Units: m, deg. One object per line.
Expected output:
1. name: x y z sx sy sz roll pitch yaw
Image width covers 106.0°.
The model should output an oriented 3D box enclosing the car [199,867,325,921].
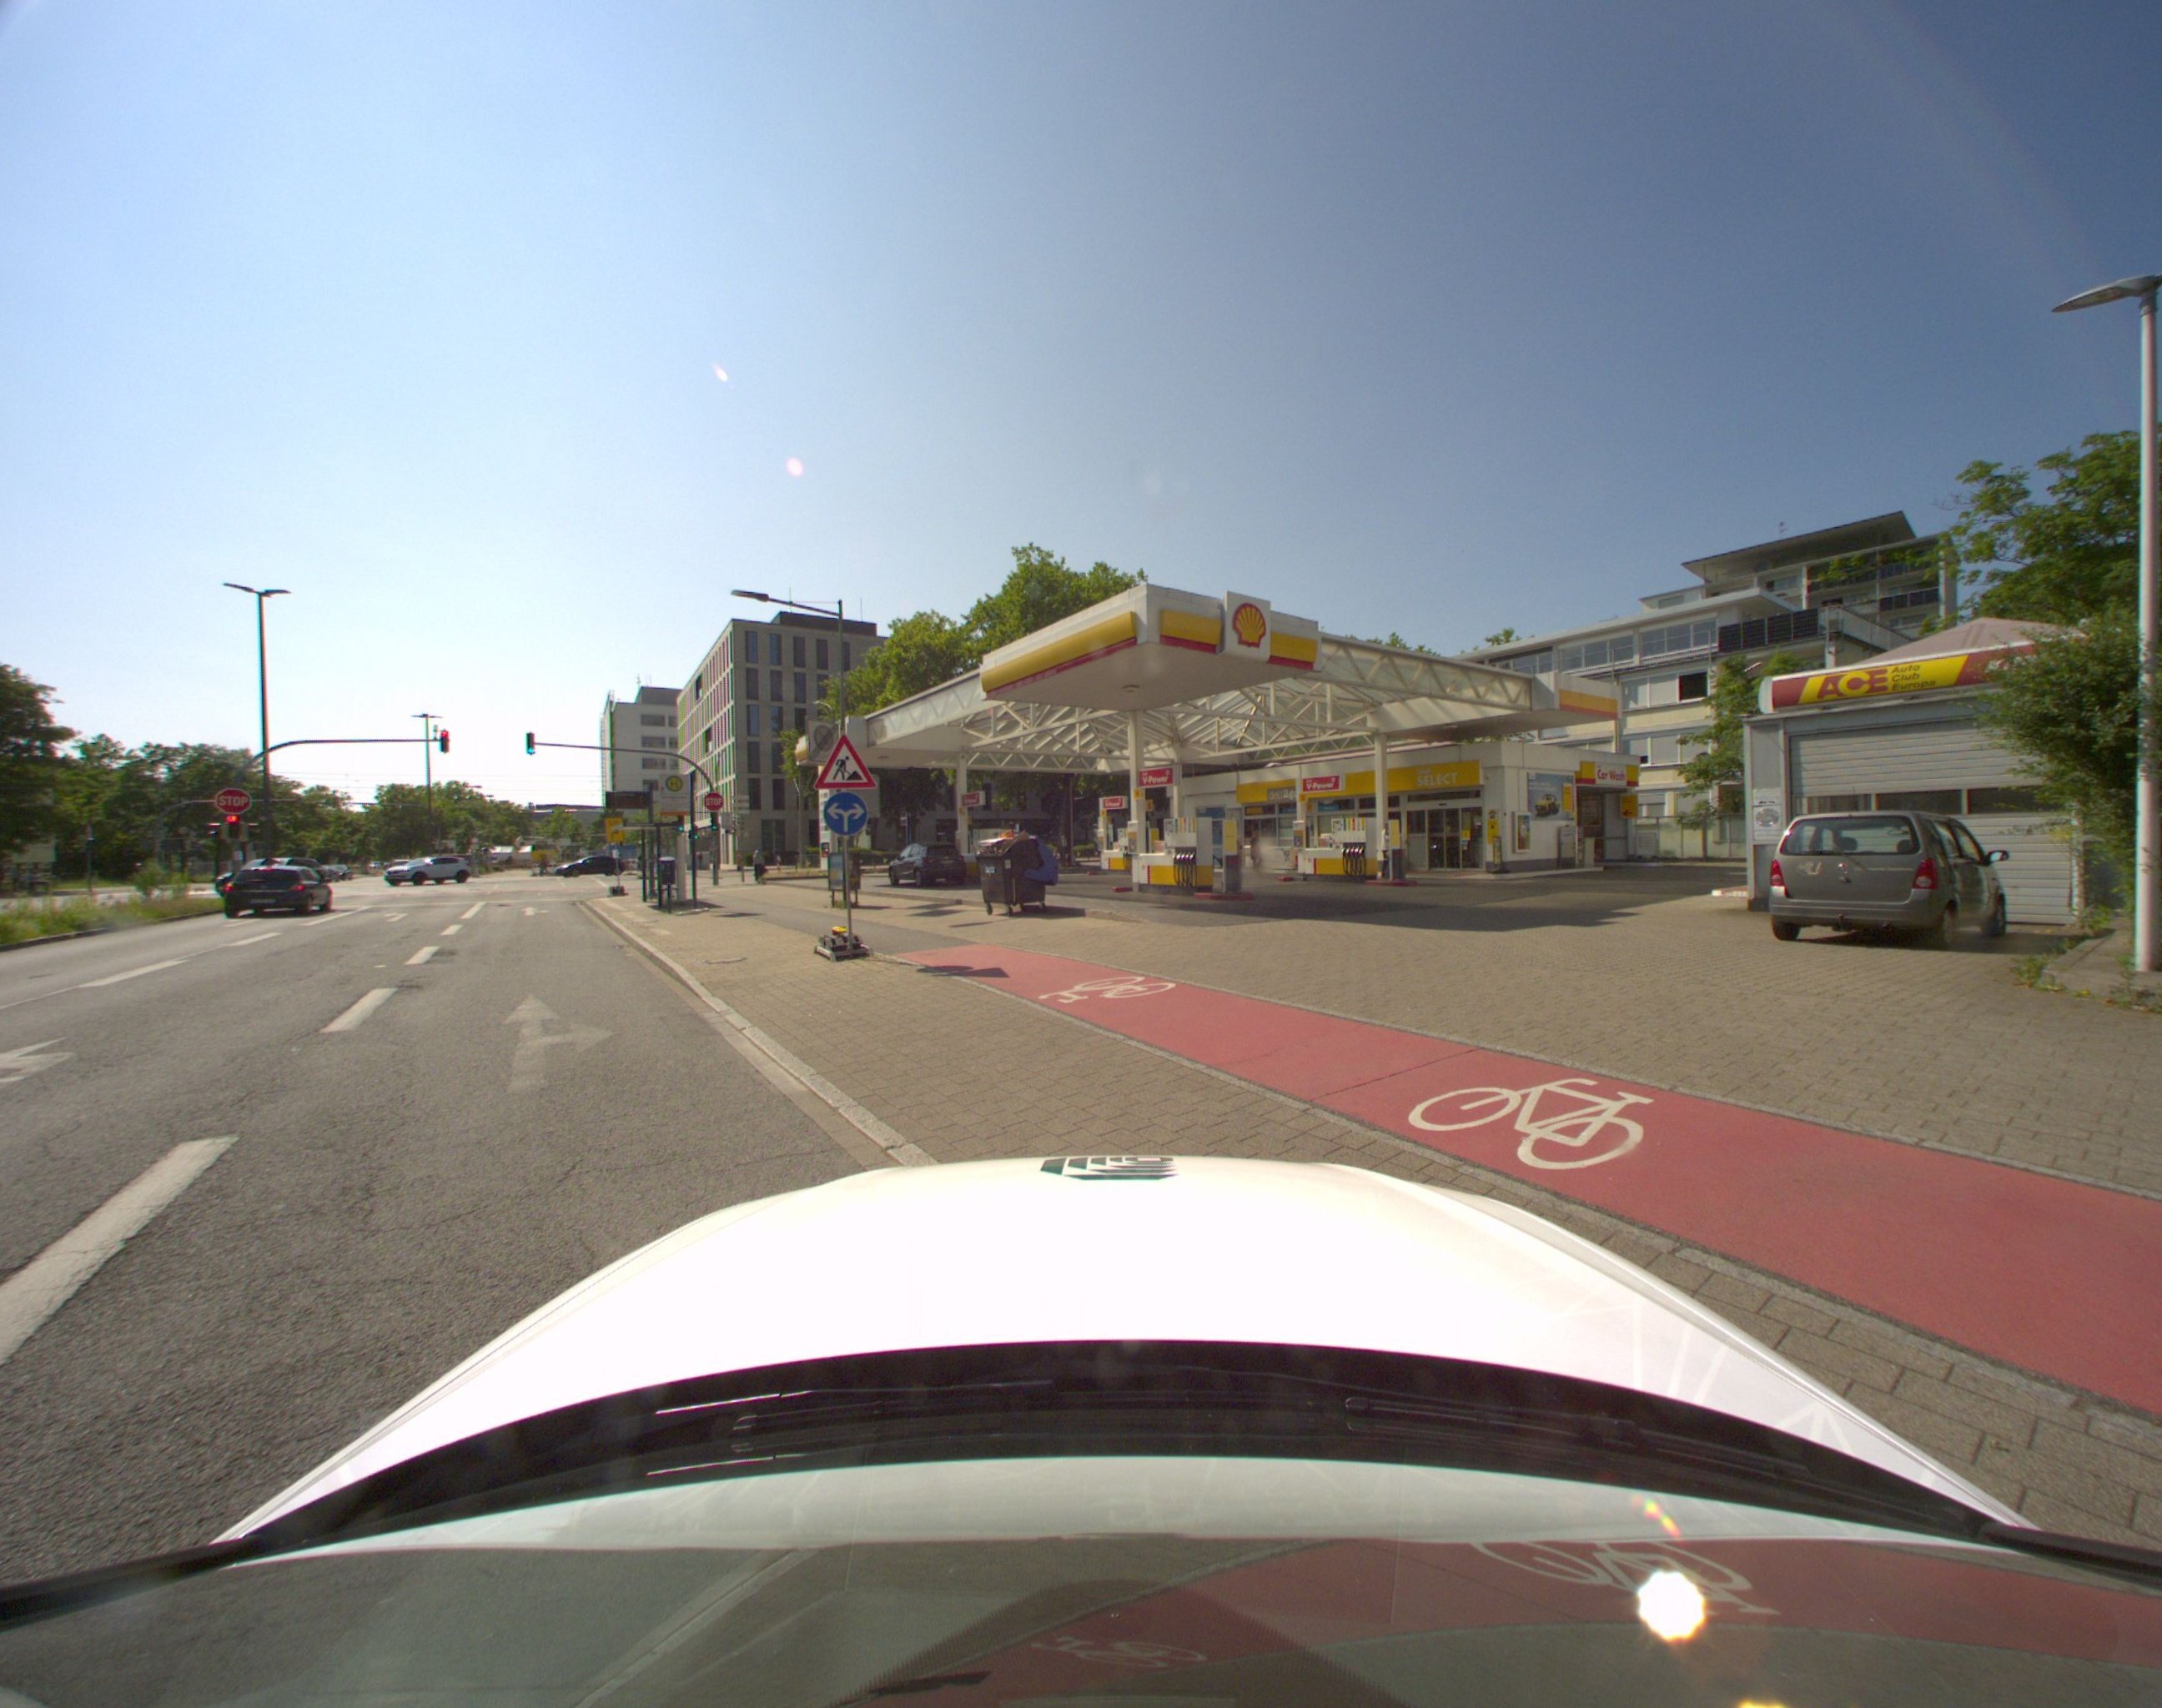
1. car: -24.139 1.114 24.172 2.009 1.398 3.956 -2 0 -36

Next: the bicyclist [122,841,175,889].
1. bicyclist: -58.973 0.677 51.564 1.611 2.931 2.328 -2 0 -34

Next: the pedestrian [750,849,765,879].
1. pedestrian: -16.698 0.521 42.029 0.623 1.543 0.456 -1 0 -35

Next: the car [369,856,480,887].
1. car: -38.785 0.983 48.291 1.979 1.636 4.888 -1 0 13

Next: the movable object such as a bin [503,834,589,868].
1. movable object such as a bin: -74.183 -0.505 113.187 9.743 4.549 3.131 -1 0 -33

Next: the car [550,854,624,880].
1. car: -35.005 0.912 57.777 4.148 1.638 1.975 -2 1 -44

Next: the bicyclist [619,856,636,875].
1. bicyclist: -39.270 0.988 70.550 1.246 1.673 0.520 -1 0 -26

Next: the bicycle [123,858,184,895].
1. bicycle: -59.414 1.408 52.236 1.611 2.269 3.957 -2 0 -34

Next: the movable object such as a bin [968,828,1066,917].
1. movable object such as a bin: -1.272 0.335 16.062 1.318 1.592 1.380 -5 2 -37

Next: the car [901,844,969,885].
1. car: -5.394 0.364 29.786 1.657 1.398 3.613 -2 0 -23

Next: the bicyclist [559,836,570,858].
1. bicyclist: -61.192 -0.854 96.511 1.076 2.574 0.820 -1 0 -28

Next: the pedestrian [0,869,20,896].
1. pedestrian: -64.018 1.701 48.406 0.666 1.611 0.938 -1 0 -11

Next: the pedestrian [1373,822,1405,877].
1. pedestrian: 10.359 -0.148 27.387 0.847 1.837 0.750 -1 0 34

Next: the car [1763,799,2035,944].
1. car: 10.714 0.160 10.621 3.845 1.596 1.575 -1 0 -30

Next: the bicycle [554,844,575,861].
1. bicycle: -61.192 -0.150 96.505 2.100 1.962 0.820 -1 0 -28

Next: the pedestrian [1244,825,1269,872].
1. pedestrian: 6.884 -0.222 31.954 0.677 1.821 0.625 -1 0 -28

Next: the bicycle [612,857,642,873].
1. bicycle: -39.295 0.935 70.530 2.240 1.285 0.520 -1 0 -26

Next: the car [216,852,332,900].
1. car: -37.027 0.951 37.561 2.002 2.013 4.834 -2 1 -22
